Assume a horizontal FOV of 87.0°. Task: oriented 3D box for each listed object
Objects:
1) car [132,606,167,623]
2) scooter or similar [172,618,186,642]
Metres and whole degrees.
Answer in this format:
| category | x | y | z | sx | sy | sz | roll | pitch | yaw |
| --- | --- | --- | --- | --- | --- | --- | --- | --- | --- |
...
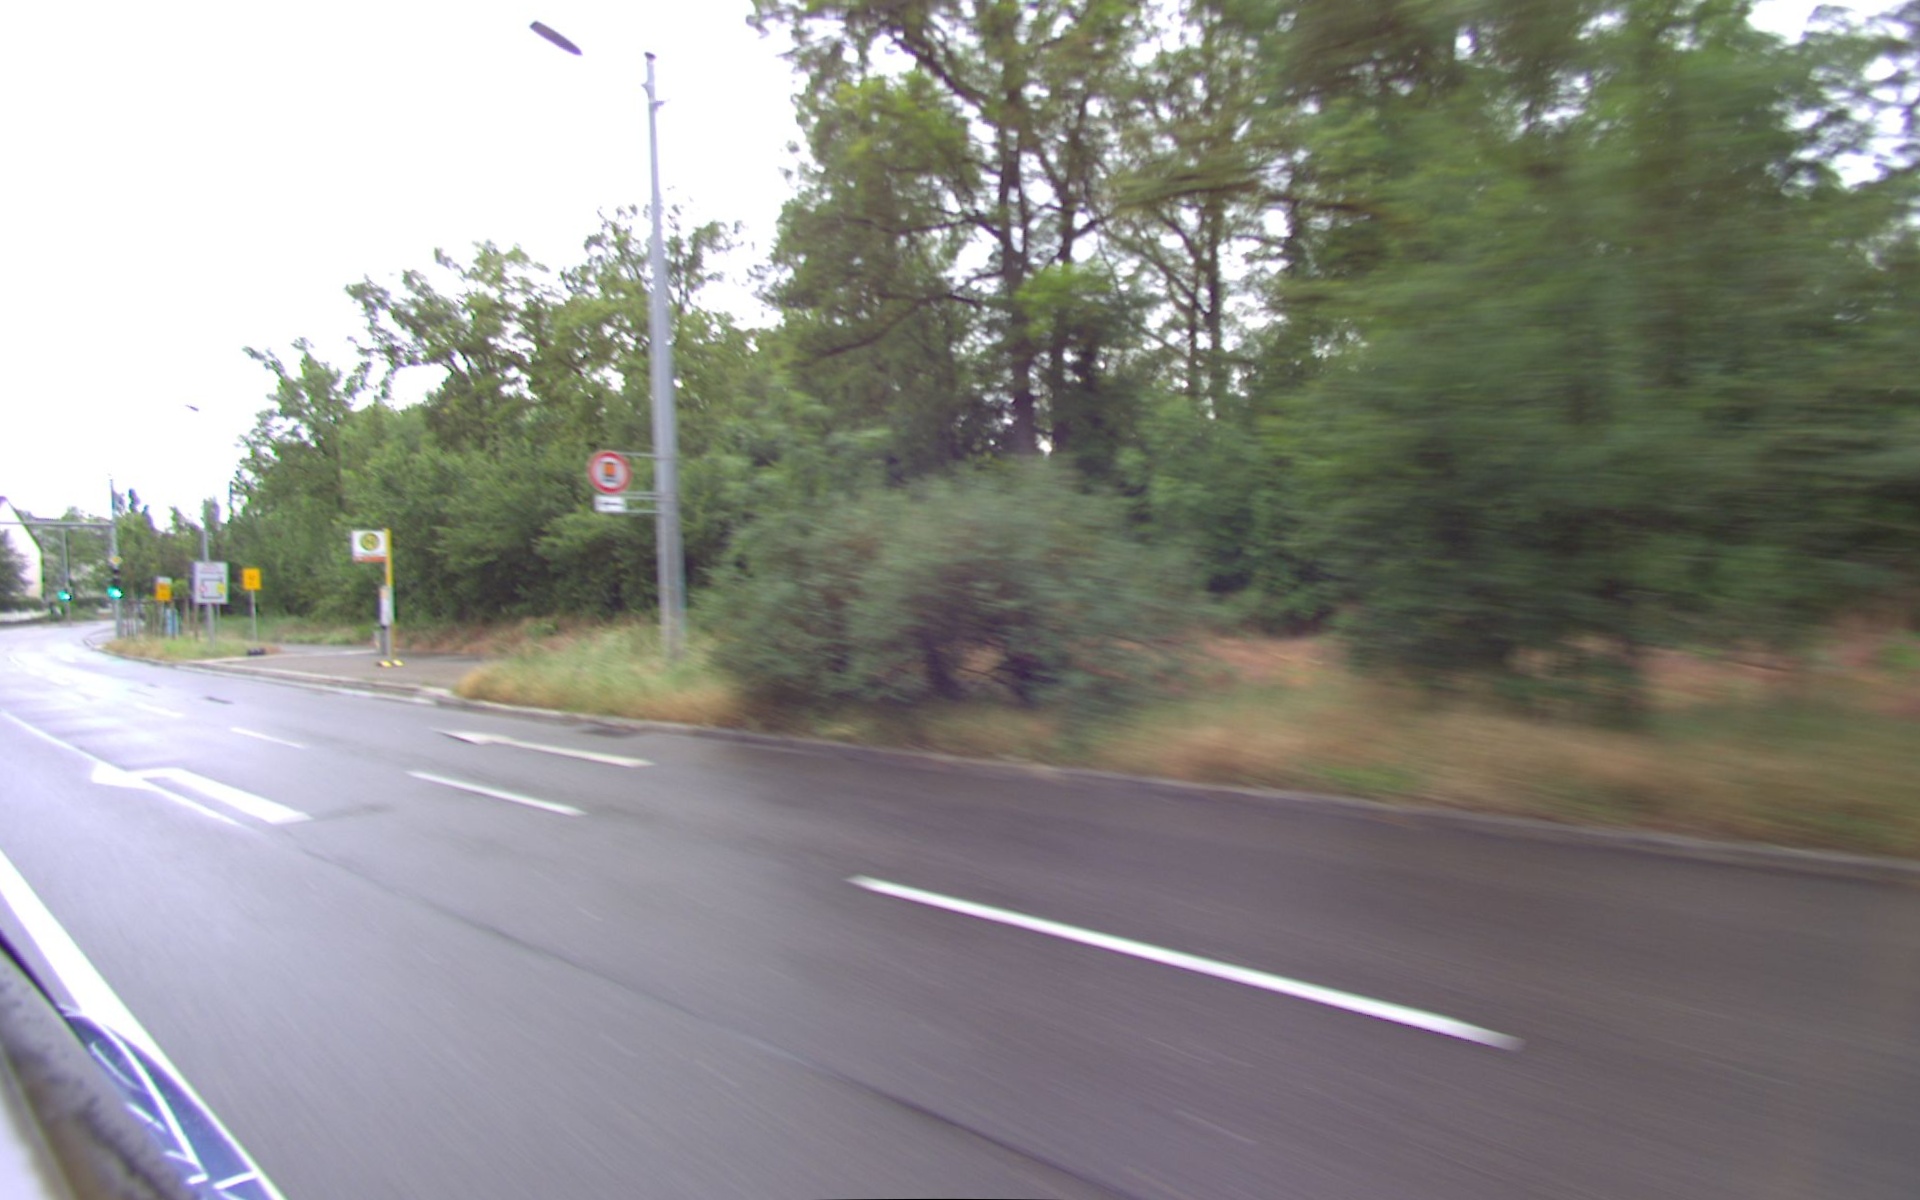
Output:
| category | x | y | z | sx | sy | sz | roll | pitch | yaw |
| --- | --- | --- | --- | --- | --- | --- | --- | --- | --- |
| car | -79.200 | 1.421 | 98.918 | 1.764 | 1.593 | 4.576 | -1 | 0 | -28 |
| scooter or similar | -41.703 | 1.573 | 54.043 | 0.511 | 1.221 | 1.472 | -3 | 1 | -38 |
